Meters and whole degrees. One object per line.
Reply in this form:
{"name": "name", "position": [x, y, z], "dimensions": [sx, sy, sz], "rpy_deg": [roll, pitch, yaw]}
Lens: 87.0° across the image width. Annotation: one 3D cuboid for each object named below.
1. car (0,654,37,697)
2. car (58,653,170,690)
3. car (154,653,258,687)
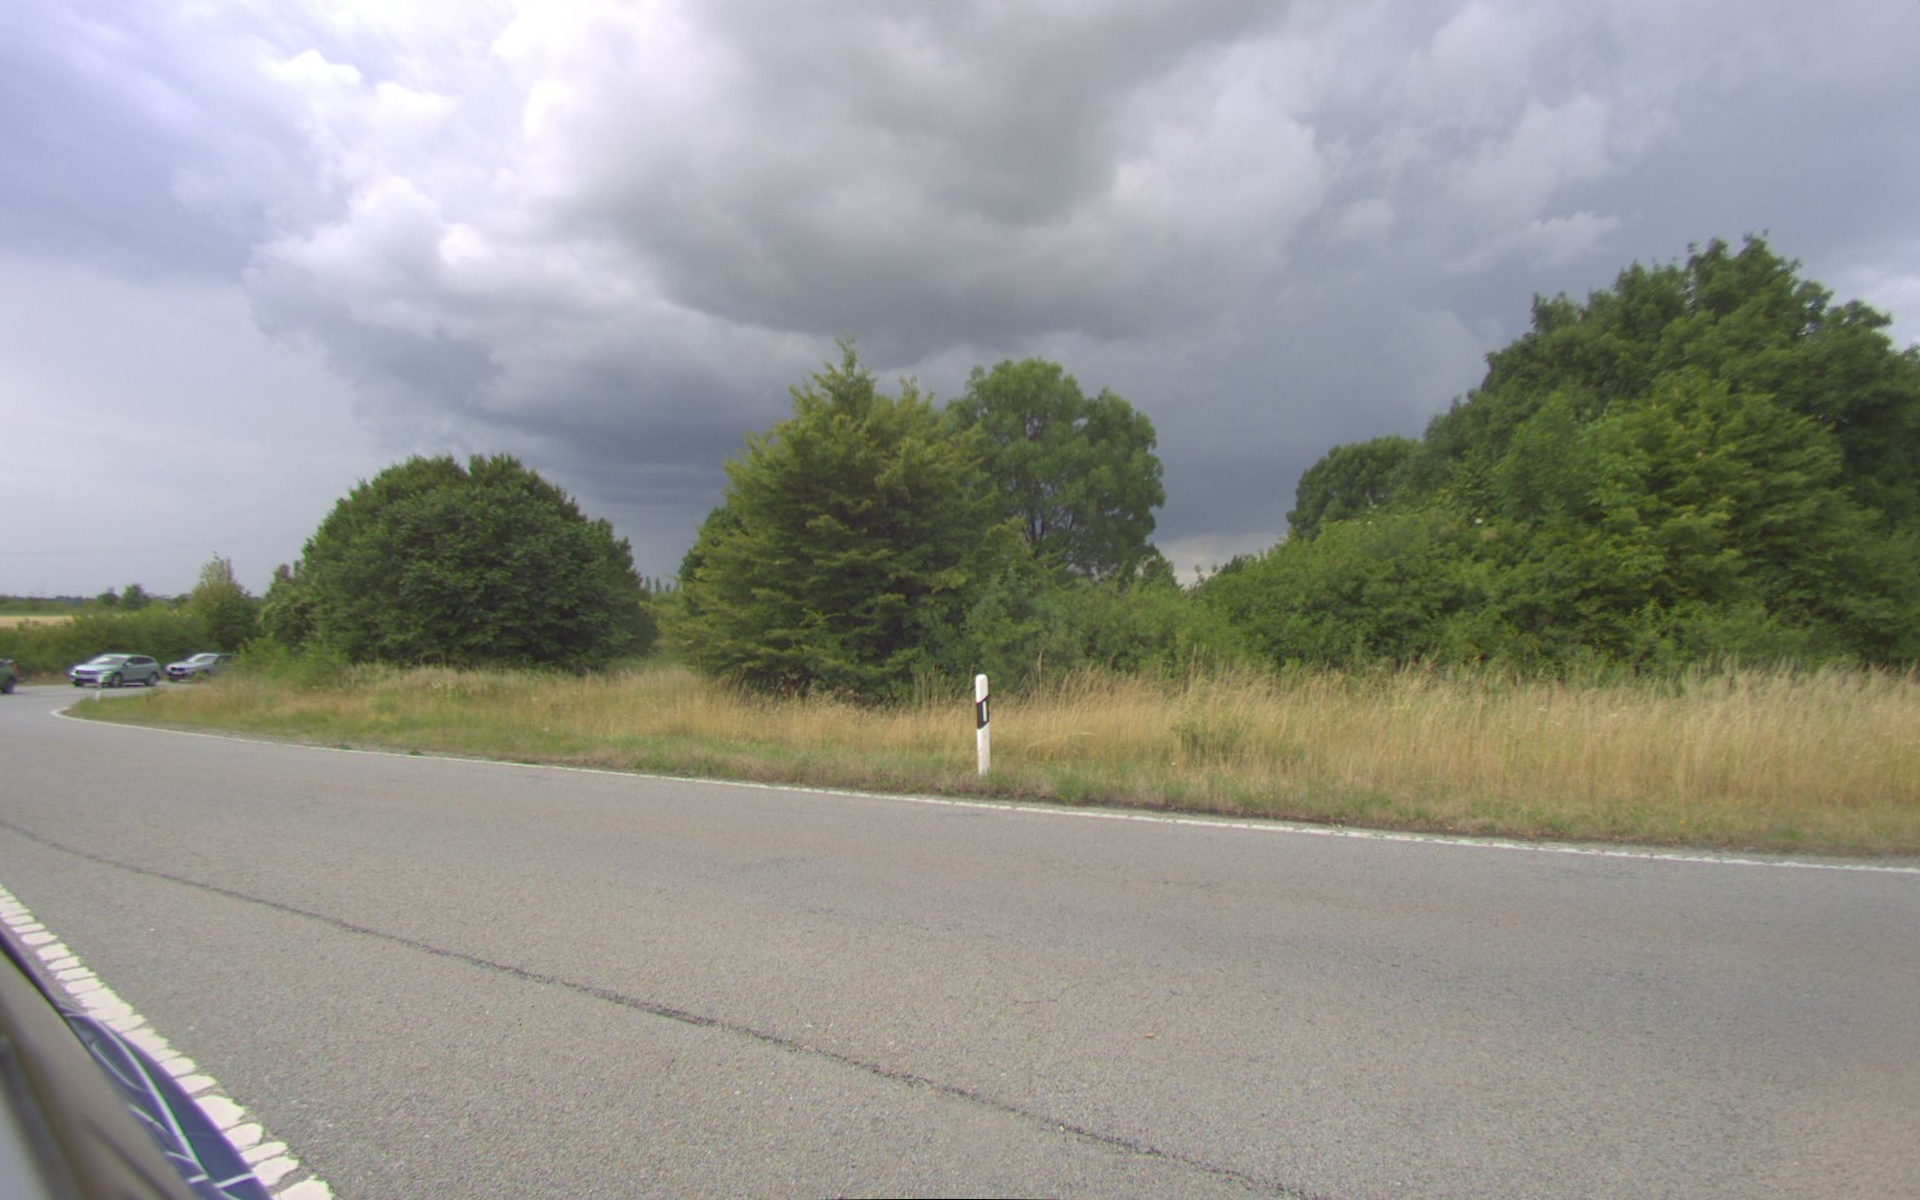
{"name": "car", "position": [-40.031, 3.040, 40.714], "dimensions": [1.966, 1.733, 5.222], "rpy_deg": [2, -4, -14]}
{"name": "car", "position": [-42.815, 3.650, 51.426], "dimensions": [1.967, 1.733, 5.219], "rpy_deg": [2, -4, -10]}
{"name": "car", "position": [-43.611, 4.027, 58.734], "dimensions": [1.973, 1.732, 5.205], "rpy_deg": [2, -2, 2]}
